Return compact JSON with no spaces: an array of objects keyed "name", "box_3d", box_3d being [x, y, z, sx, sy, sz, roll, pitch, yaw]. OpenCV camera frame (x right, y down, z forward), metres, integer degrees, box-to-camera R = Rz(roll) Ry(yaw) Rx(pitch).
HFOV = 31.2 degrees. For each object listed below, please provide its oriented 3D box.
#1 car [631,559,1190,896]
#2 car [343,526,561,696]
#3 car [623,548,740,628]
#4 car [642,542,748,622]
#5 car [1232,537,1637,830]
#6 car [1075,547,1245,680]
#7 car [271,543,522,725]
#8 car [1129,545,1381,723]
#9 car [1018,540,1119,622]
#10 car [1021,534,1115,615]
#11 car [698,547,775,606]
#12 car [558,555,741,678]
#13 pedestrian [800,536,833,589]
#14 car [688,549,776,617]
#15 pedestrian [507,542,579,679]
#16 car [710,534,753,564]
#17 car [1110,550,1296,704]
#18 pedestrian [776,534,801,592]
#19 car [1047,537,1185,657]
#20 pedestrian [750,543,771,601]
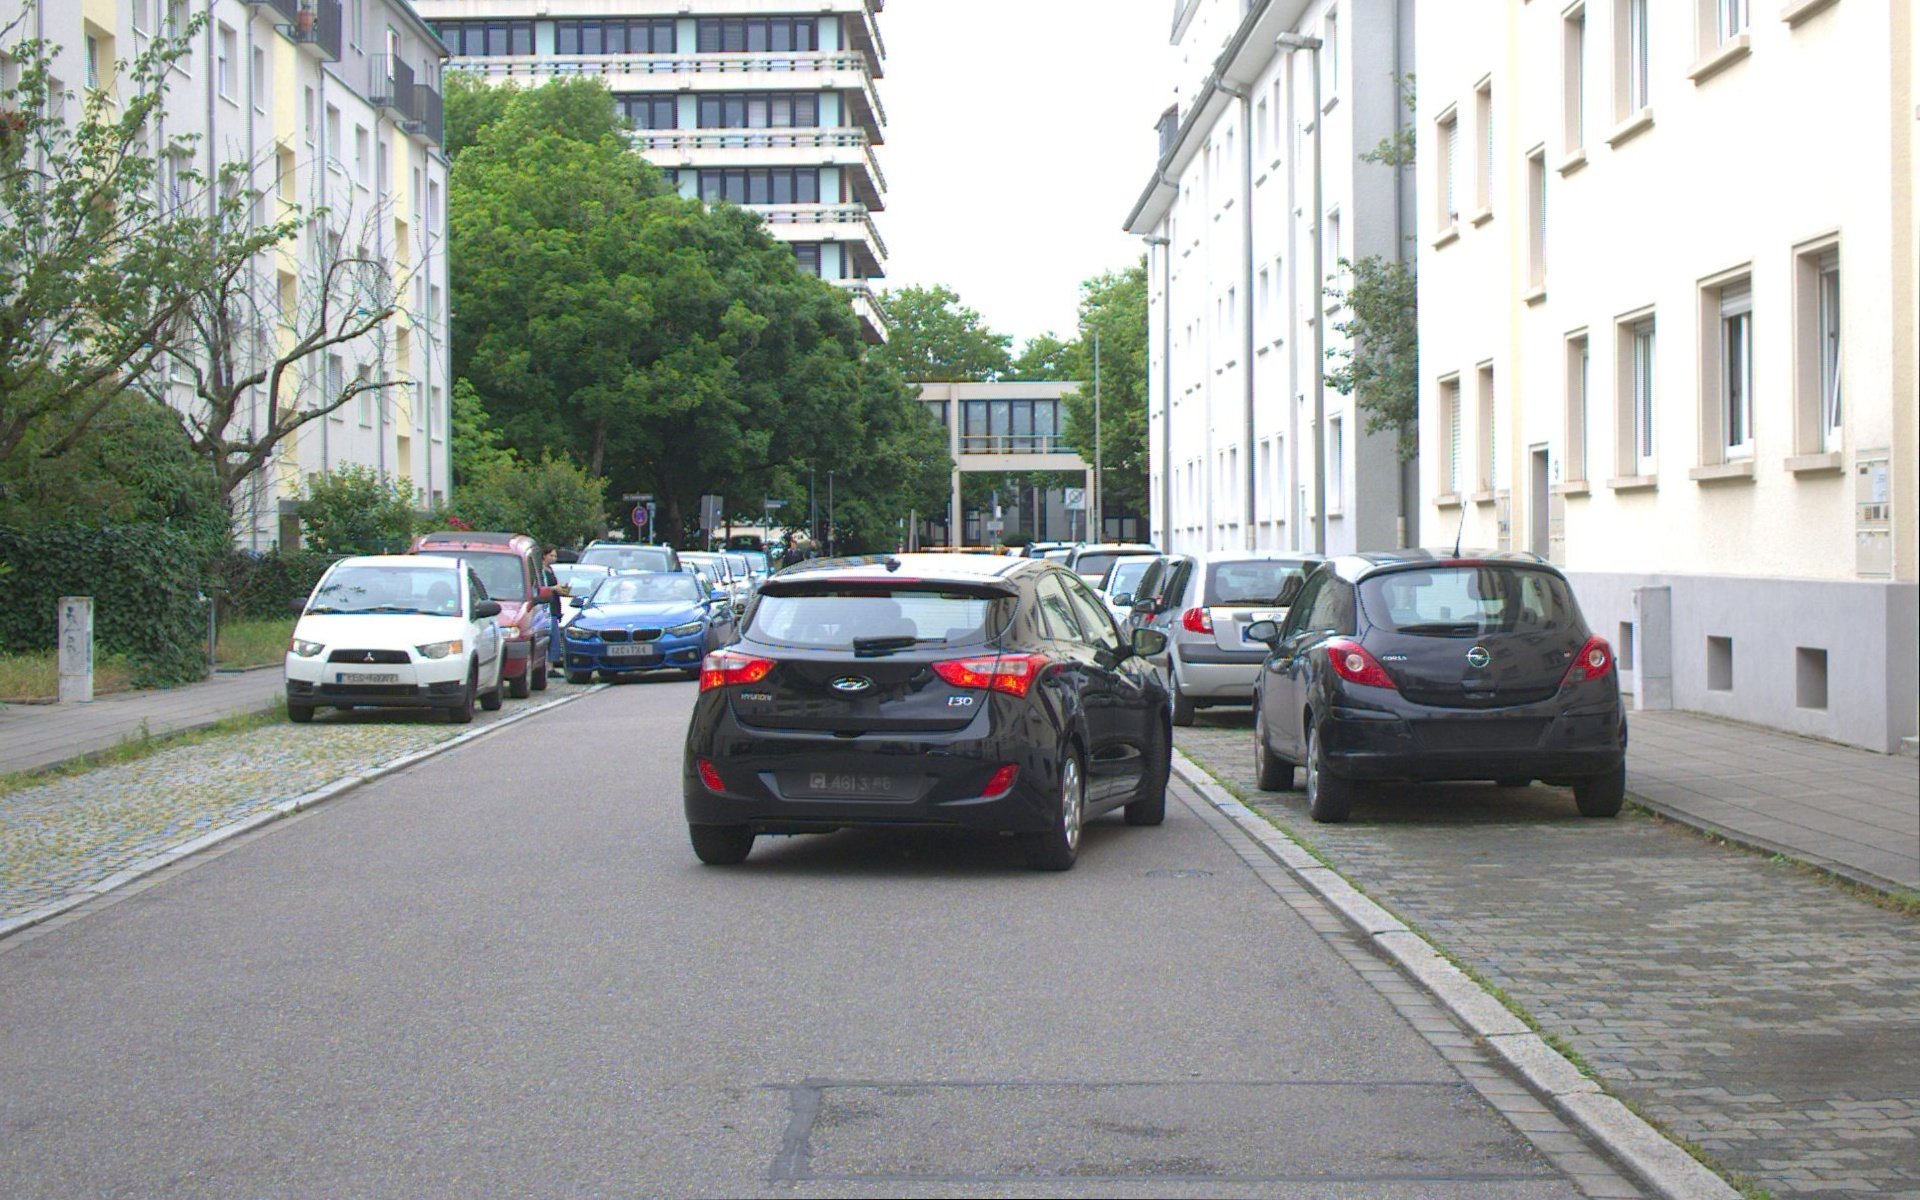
[{"name":"car","box_3d":[-0.092,0.534,17.070,1.904,1.428,4.231,-1,1,11]},{"name":"car","box_3d":[-5.573,0.077,38.204,1.956,1.764,4.362,1,1,-3]},{"name":"car","box_3d":[-5.383,-0.257,66.879,1.895,1.447,4.521,2,1,-1]},{"name":"car","box_3d":[-5.589,-0.410,73.049,1.895,1.593,4.521,2,1,-1]},{"name":"car","box_3d":[2.641,0.398,19.984,1.725,1.512,4.061,-1,1,-1]},{"name":"car","box_3d":[2.316,0.114,40.780,1.725,1.471,4.505,0,1,0]},{"name":"car","box_3d":[-5.237,0.274,32.370,1.720,1.564,3.870,2,1,-1]},{"name":"car","box_3d":[2.524,0.246,30.218,1.848,1.445,3.833,0,1,0]},{"name":"car","box_3d":[2.043,-0.390,65.643,1.820,1.498,4.091,0,1,0]},{"name":"car","box_3d":[2.185,-0.544,70.710,1.820,1.597,4.091,0,1,0]},{"name":"car","box_3d":[-6.070,-0.654,93.677,1.993,1.536,4.001,1,1,-3]},{"name":"car","box_3d":[-3.867,0.170,43.437,1.845,1.446,4.501,0,1,1]},{"name":"pedestrian","box_3d":[-4.513,-1.195,107.895,0.972,1.648,0.981,-1,1,1]},{"name":"car","box_3d":[-5.360,-0.428,81.378,1.993,1.536,4.001,1,1,-3]},{"name":"pedestrian","box_3d":[-5.262,0.125,43.358,0.740,1.696,0.796,-1,1,-18]},{"name":"car","box_3d":[-10.080,-2.257,151.883,1.665,1.328,3.396,0,1,0]},{"name":"car","box_3d":[2.455,0.235,35.410,1.603,1.471,3.869,1,1,0]},{"name":"pedestrian","box_3d":[-5.389,-1.162,108.118,0.714,1.825,0.797,0,1,2]},{"name":"car","box_3d":[2.198,-0.076,49.360,1.820,1.636,4.091,0,1,0]},{"name":"pedestrian","box_3d":[-6.254,-0.886,107.787,0.605,1.825,0.675,0,1,1]}]
